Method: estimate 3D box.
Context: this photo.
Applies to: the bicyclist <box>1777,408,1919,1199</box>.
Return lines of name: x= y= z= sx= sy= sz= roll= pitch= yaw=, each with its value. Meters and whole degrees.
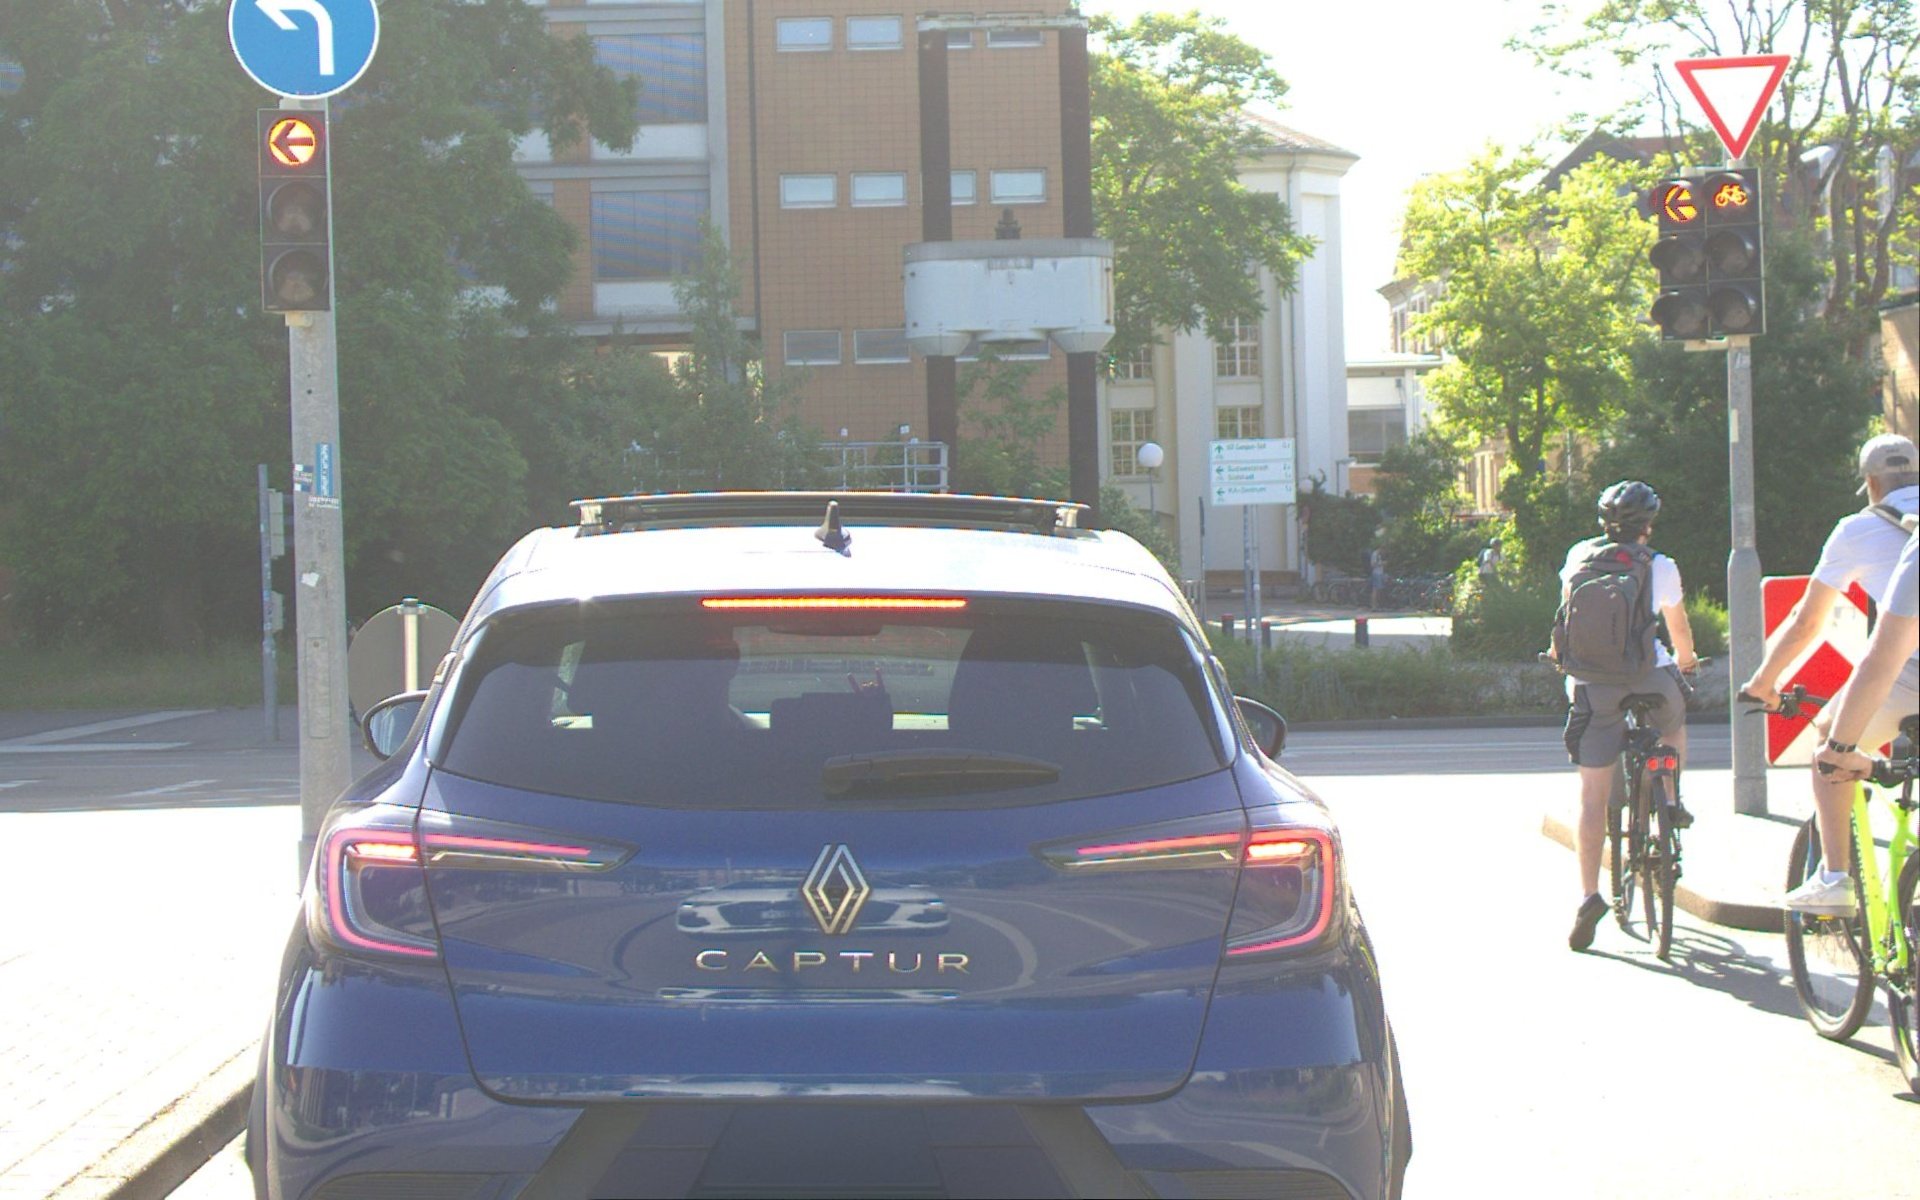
bicyclist: x=2.224 y=0.508 z=7.327 sx=0.683 sy=1.785 sz=1.142 roll=0 pitch=1 yaw=-1

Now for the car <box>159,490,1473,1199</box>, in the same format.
car: x=-0.273 y=0.617 z=6.648 sx=1.788 sy=1.580 sz=3.915 roll=0 pitch=1 yaw=-2

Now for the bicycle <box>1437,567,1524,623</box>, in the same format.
bicycle: x=10.936 y=-0.102 z=72.300 sx=0.694 sy=1.136 sz=2.442 roll=-1 pitch=1 yaw=-21

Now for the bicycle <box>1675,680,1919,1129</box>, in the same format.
bicycle: x=2.595 y=0.806 z=9.804 sx=0.689 sy=1.085 sz=1.922 roll=0 pitch=1 yaw=-1

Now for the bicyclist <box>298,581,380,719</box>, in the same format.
bicyclist: x=-7.907 y=0.627 z=43.795 sx=0.755 sy=1.710 sz=0.998 roll=-1 pitch=1 yaw=5

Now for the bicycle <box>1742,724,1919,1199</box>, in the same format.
bicycle: x=2.231 y=0.852 z=7.282 sx=0.689 sy=1.085 sz=1.922 roll=0 pitch=1 yaw=-1

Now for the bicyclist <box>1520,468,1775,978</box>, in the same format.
bicyclist: x=2.504 y=0.425 z=12.629 sx=0.699 sy=1.785 sz=1.142 roll=0 pitch=1 yaw=-1

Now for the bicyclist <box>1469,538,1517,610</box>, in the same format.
bicyclist: x=11.127 y=-0.546 z=71.799 sx=0.694 sy=1.476 sz=0.717 roll=-1 pitch=1 yaw=-20

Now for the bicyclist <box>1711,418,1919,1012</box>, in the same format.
bicyclist: x=2.604 y=0.301 z=9.762 sx=0.678 sy=1.589 sz=1.142 roll=0 pitch=1 yaw=-1

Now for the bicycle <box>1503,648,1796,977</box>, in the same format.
bicycle: x=2.531 y=0.746 z=12.825 sx=0.689 sy=1.085 sz=1.922 roll=0 pitch=1 yaw=-1

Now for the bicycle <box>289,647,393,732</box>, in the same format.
bicycle: x=-7.886 y=1.131 z=43.906 sx=0.755 sy=0.981 sz=2.093 roll=-1 pitch=1 yaw=5
